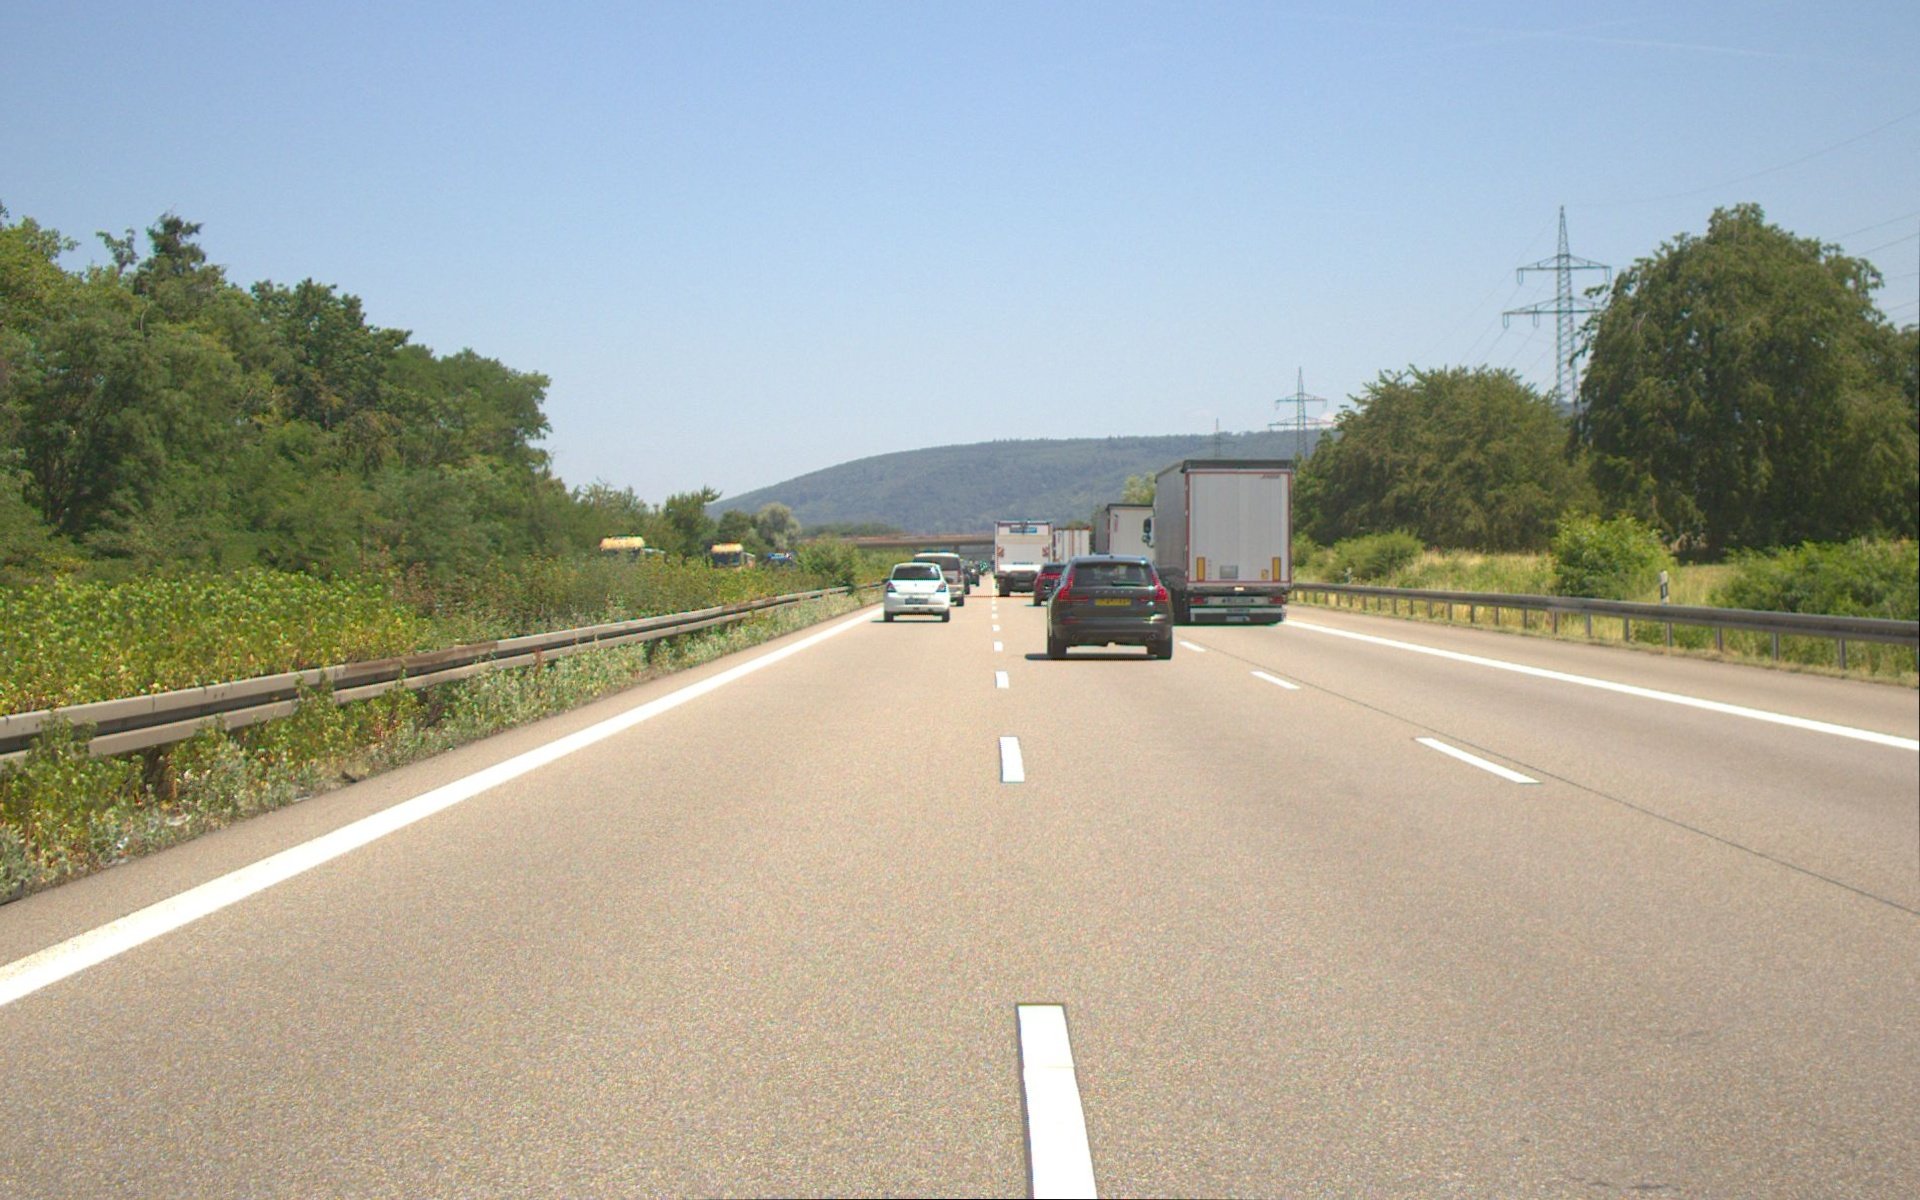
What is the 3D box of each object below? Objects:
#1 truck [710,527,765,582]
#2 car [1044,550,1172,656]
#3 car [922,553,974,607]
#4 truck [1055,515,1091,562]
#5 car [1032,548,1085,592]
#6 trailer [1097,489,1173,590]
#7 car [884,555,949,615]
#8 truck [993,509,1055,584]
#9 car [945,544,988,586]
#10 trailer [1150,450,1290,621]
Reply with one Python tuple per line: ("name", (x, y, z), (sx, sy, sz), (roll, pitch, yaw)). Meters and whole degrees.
("truck", (-16.065, -3.286, 248.482), (2.899, 3.693, 11.899), (-3, 1, 1))
("car", (2.315, 0.024, 54.778), (1.873, 1.618, 4.004), (0, 1, 0))
("car", (-0.406, -0.724, 121.687), (1.761, 1.844, 4.000), (-2, 1, 0))
("truck", (7.846, -4.266, 240.331), (2.221, 3.198, 10.384), (-1, 1, 1))
("car", (3.501, -1.066, 122.722), (1.803, 1.540, 4.000), (0, 1, 1))
("trailer", (7.616, -2.601, 151.094), (2.789, 4.149, 13.574), (-2, 0, 1))
("car", (-1.112, -0.403, 89.123), (1.607, 1.463, 4.000), (-2, 1, 0))
("truck", (2.910, -2.422, 158.408), (2.782, 3.361, 8.127), (0, 0, 1))
("car", (0.315, -1.721, 168.796), (1.993, 2.007, 4.000), (-1, 1, -1))
("trailer", (6.558, -1.604, 88.524), (2.736, 4.092, 13.122), (0, 1, 1))
